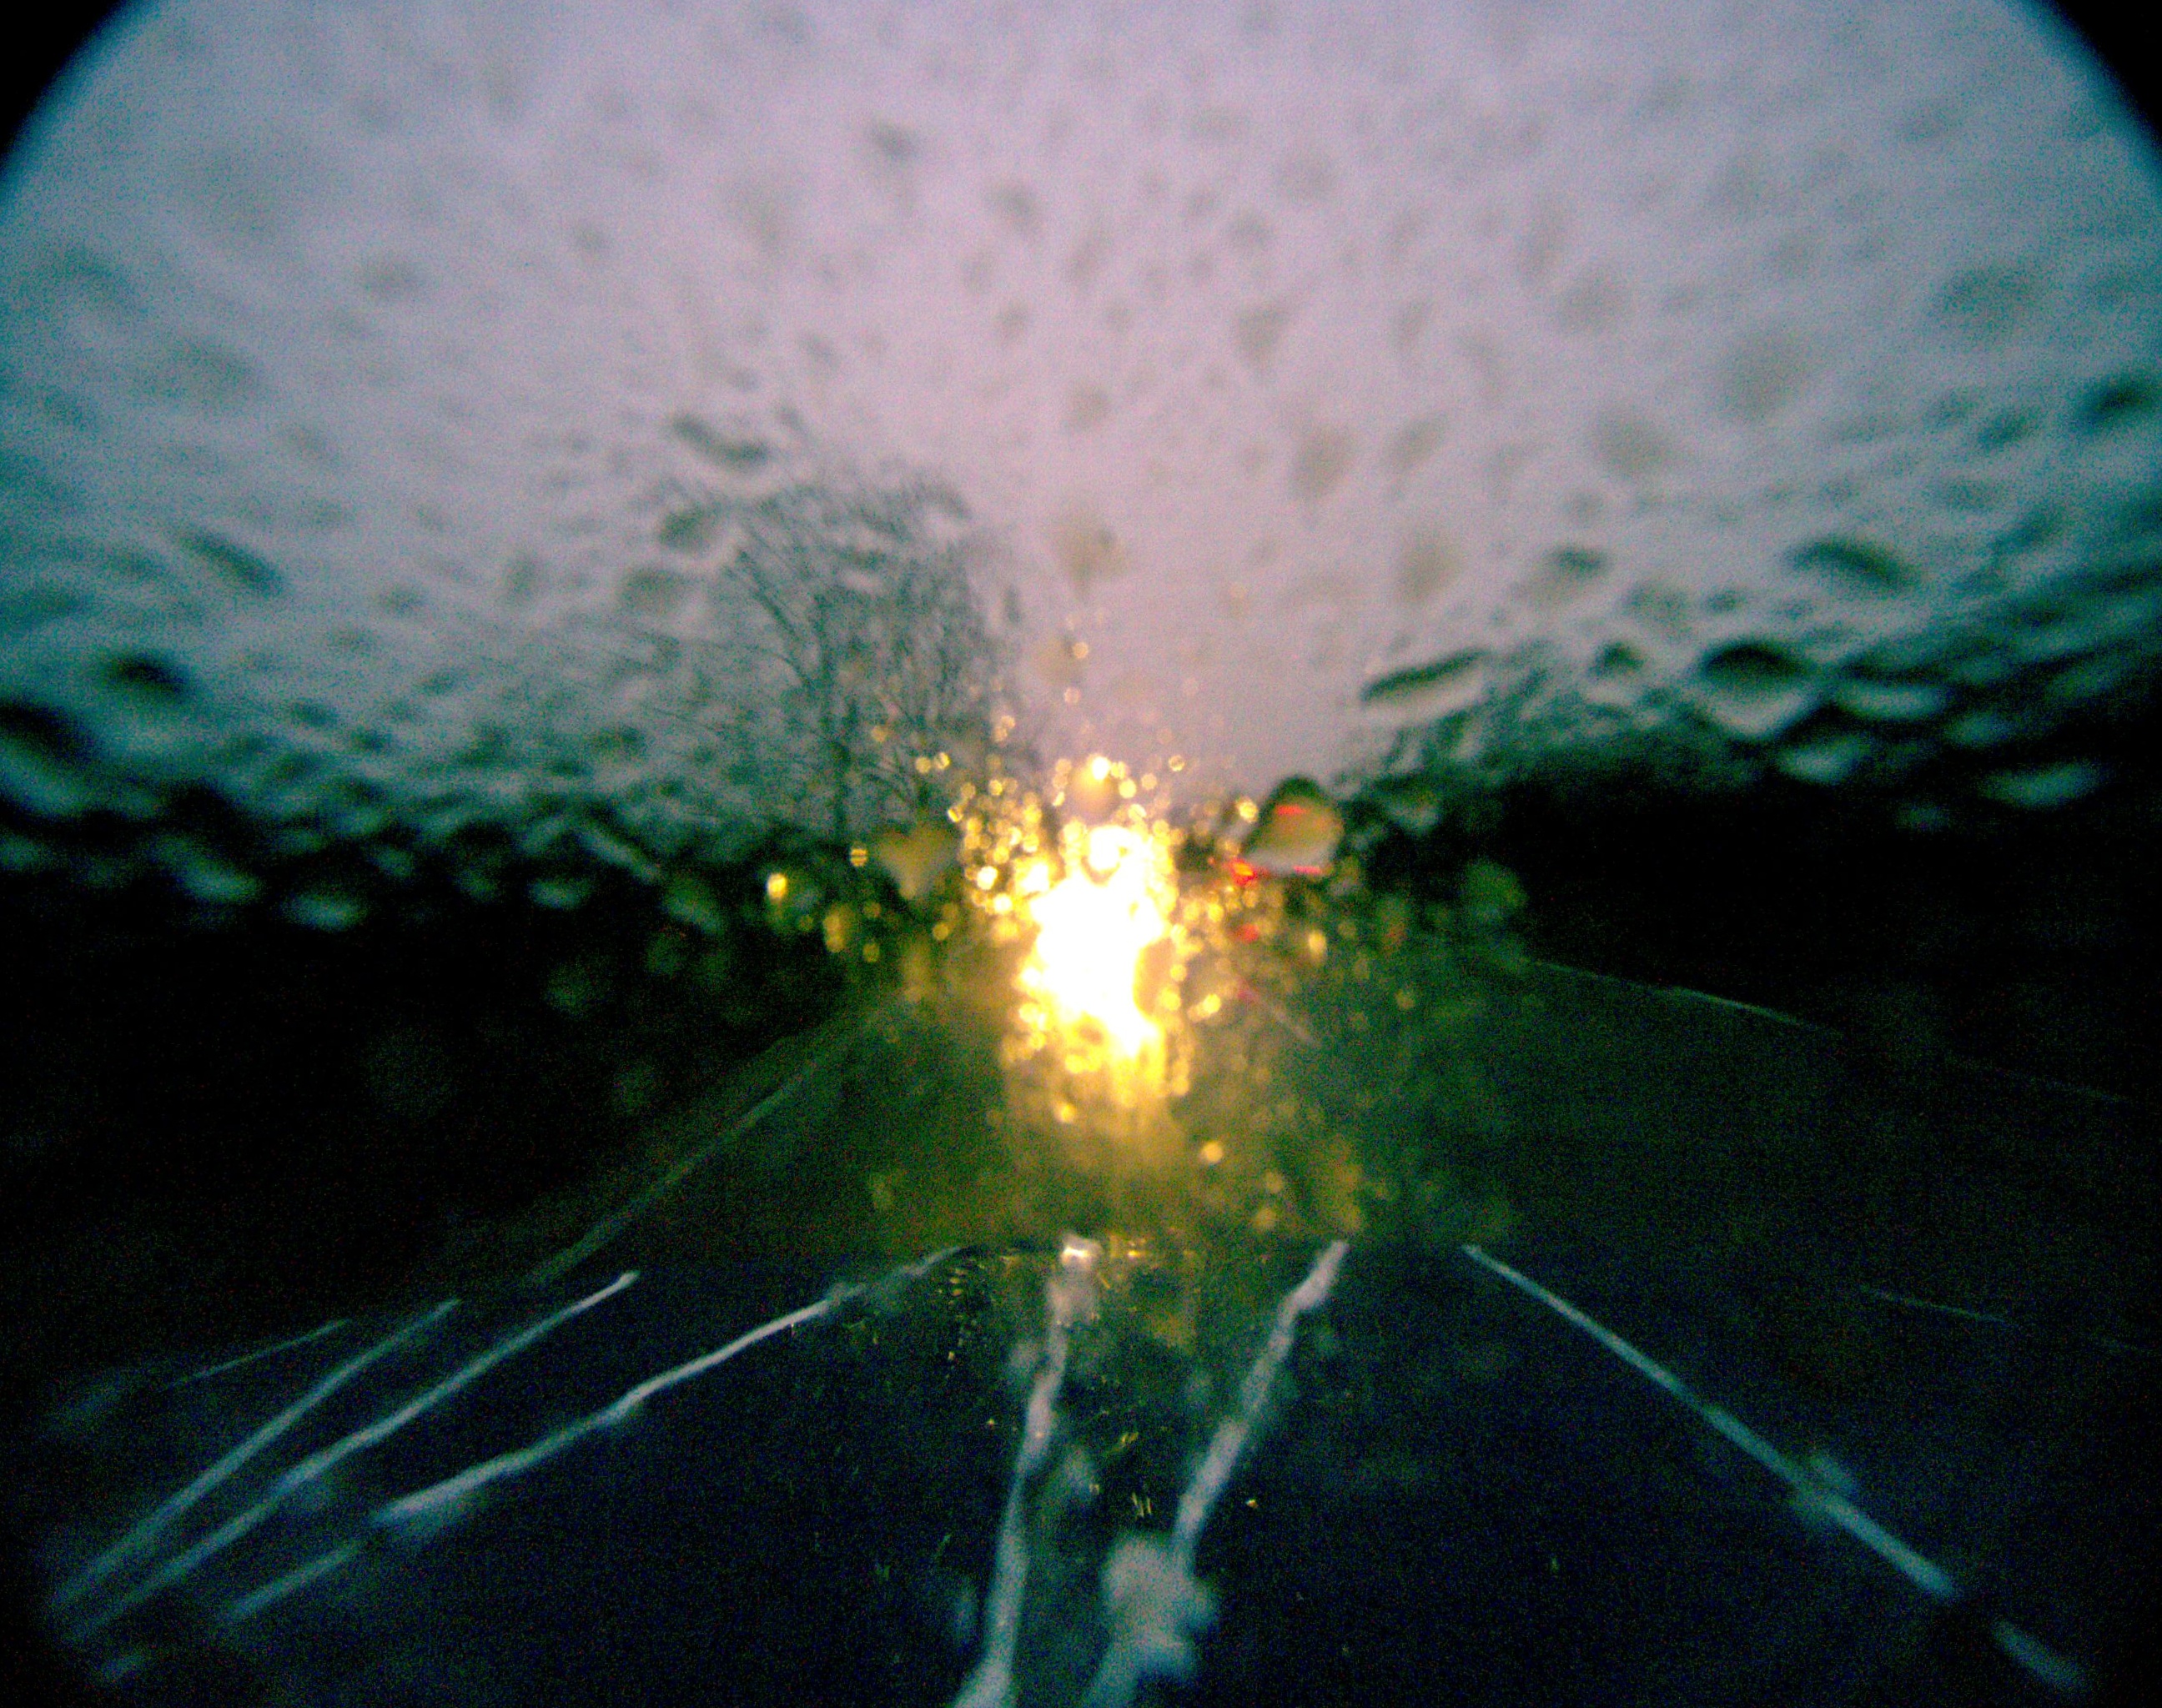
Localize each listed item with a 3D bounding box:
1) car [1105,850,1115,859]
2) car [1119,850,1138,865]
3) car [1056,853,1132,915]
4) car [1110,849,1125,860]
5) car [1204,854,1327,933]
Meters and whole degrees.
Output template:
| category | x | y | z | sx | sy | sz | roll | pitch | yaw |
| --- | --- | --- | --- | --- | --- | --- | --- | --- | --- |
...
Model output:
| category | x | y | z | sx | sy | sz | roll | pitch | yaw |
| --- | --- | --- | --- | --- | --- | --- | --- | --- | --- |
| car | 5.710 | 0.083 | 148.496 | 1.784 | 1.587 | 4.692 | -2 | 0 | 1 |
| car | 4.952 | 0.367 | 78.941 | 1.821 | 1.433 | 3.456 | -3 | 0 | 4 |
| car | 0.488 | 0.833 | 22.866 | 1.998 | 1.601 | 4.001 | -3 | 0 | 5 |
| car | 5.475 | 0.053 | 113.941 | 1.927 | 1.645 | 4.104 | -2 | 0 | 0 |
| car | 3.878 | 0.764 | 16.619 | 1.755 | 1.465 | 3.891 | -2 | 0 | 1 |
